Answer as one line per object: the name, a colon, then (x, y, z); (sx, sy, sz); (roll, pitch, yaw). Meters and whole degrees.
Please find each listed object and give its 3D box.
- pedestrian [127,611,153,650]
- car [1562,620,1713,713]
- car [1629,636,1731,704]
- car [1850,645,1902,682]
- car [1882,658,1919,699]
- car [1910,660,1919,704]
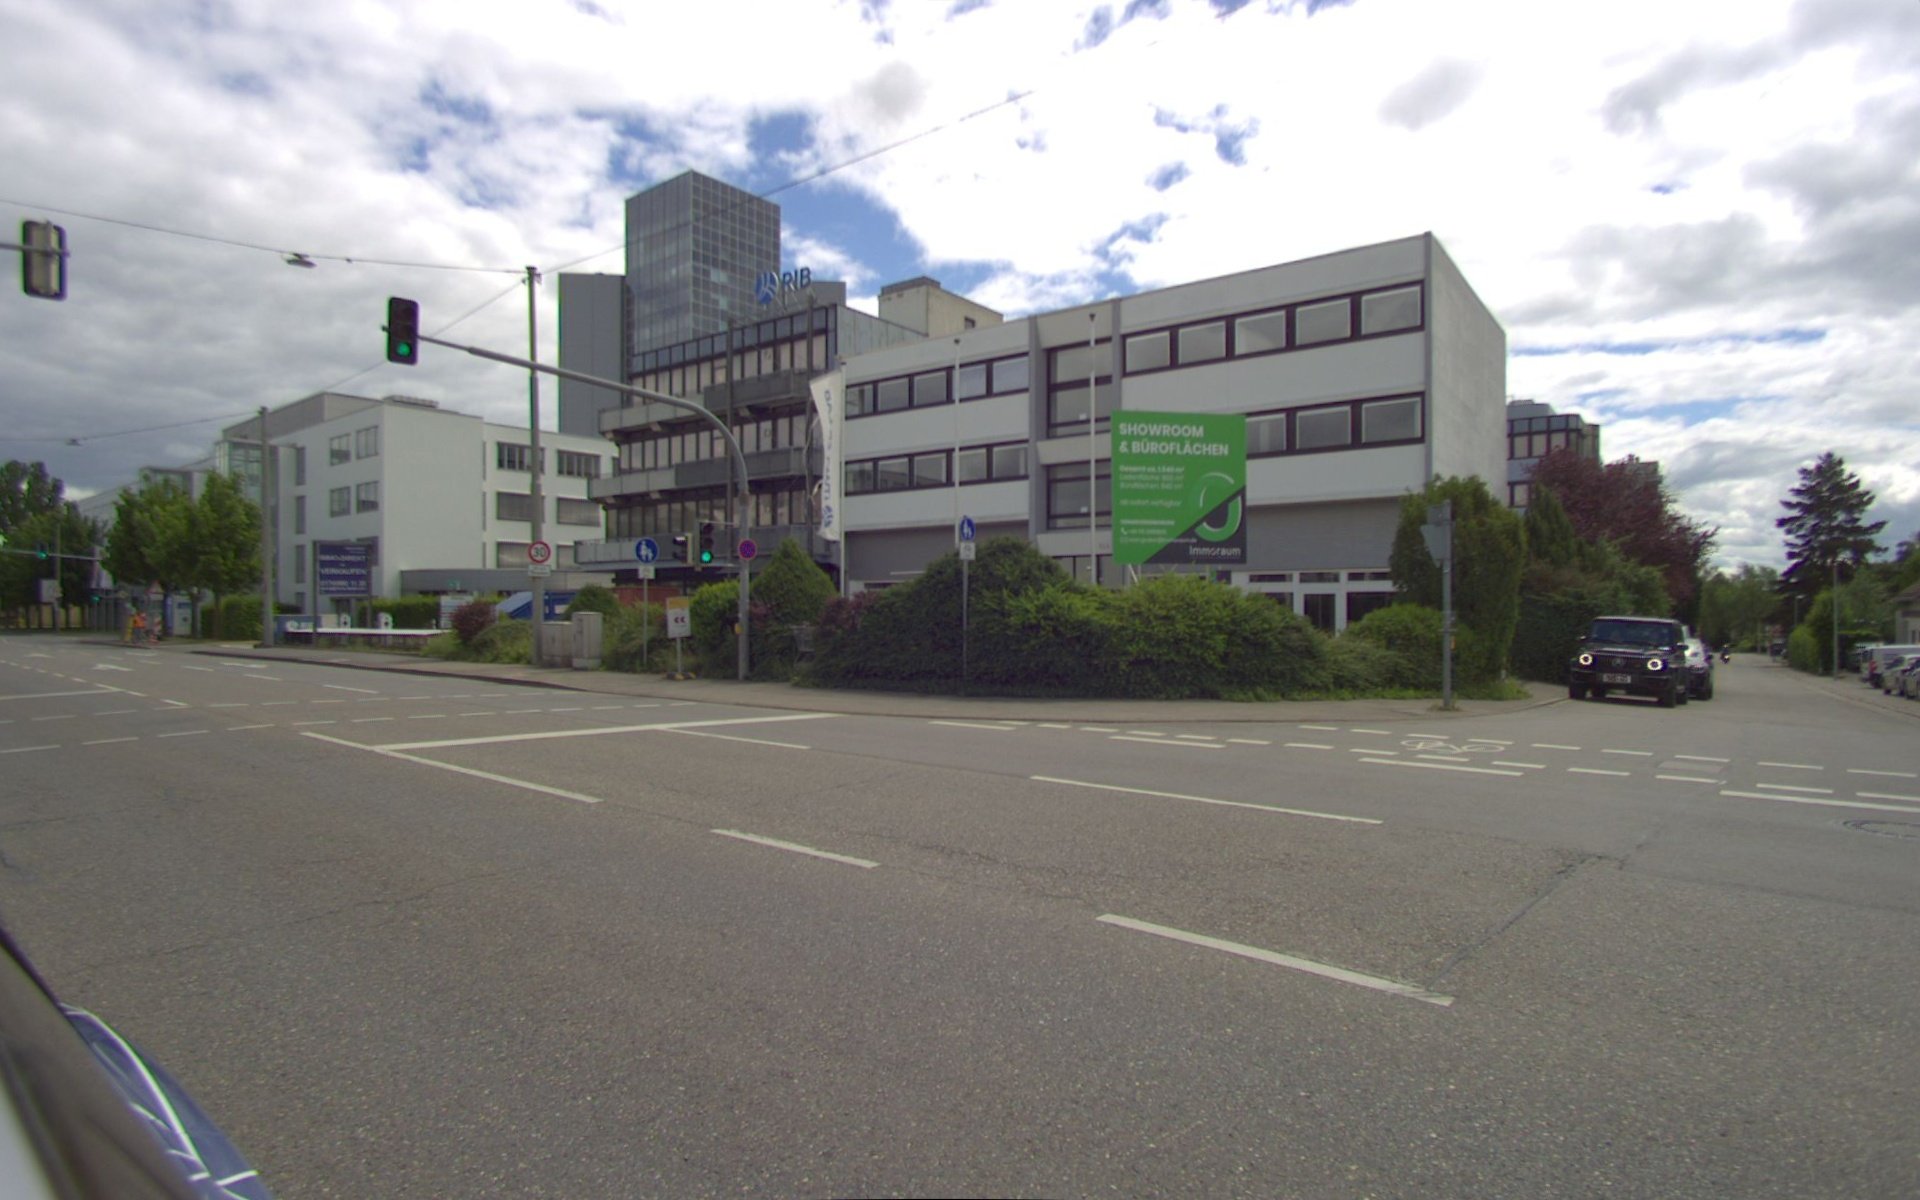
pedestrian: (-43.641, 1.638, 53.885); (0.715, 2.029, 0.812); (-1, 1, -7)
car: (15.509, 1.514, 23.061); (2.170, 1.806, 4.702); (2, -2, 42)
car: (20.236, 1.975, 28.376); (1.999, 1.719, 3.946); (0, -4, 40)
car: (51.016, 3.485, 56.431); (1.998, 1.718, 3.947); (0, 1, 40)
car: (33.908, 2.746, 35.557); (1.807, 1.393, 3.890); (-3, -5, 37)
car: (30.994, 2.546, 31.321); (1.807, 1.393, 3.890); (-3, -5, 37)
